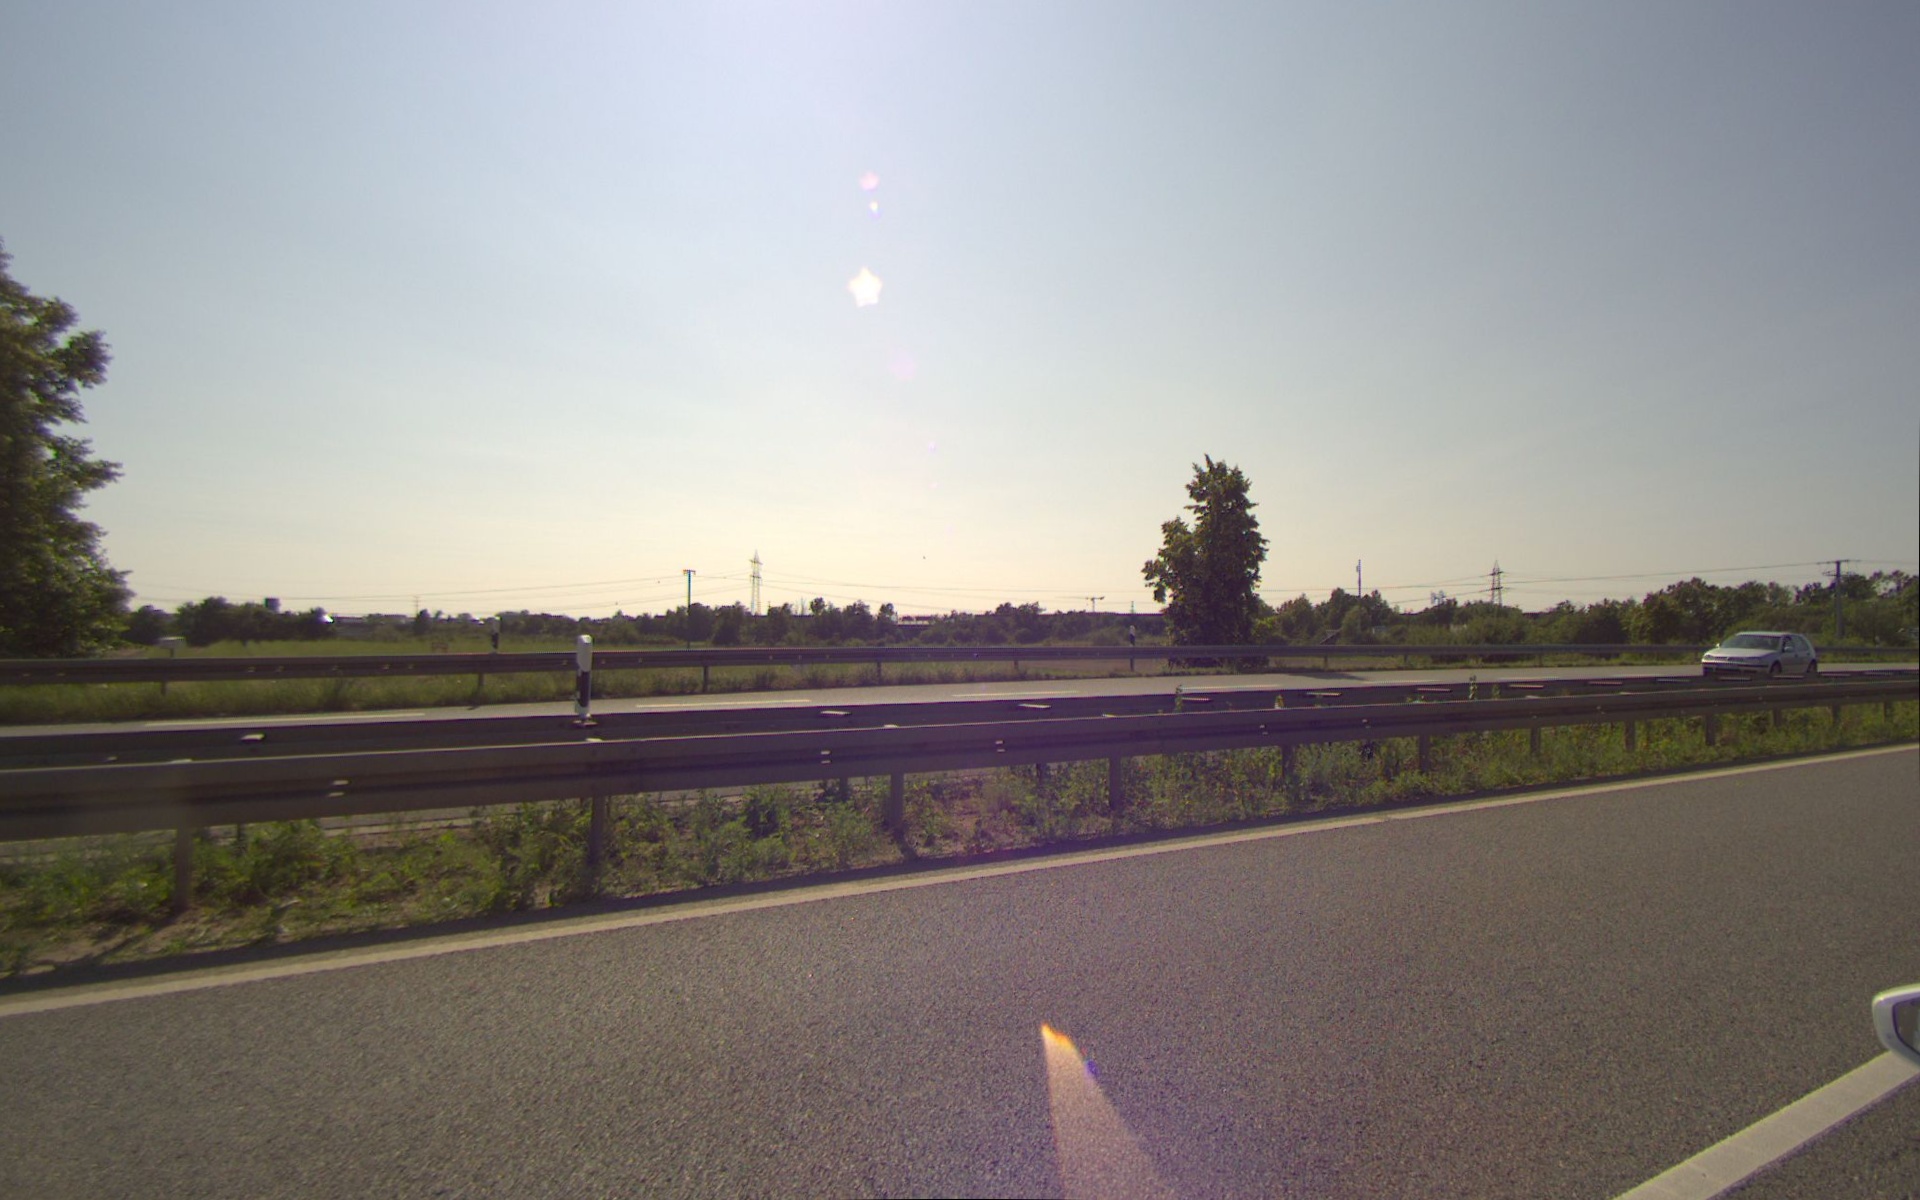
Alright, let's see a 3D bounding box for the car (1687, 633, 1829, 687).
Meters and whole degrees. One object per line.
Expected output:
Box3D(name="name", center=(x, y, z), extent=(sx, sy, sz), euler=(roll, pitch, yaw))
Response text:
Box3D(name="car", center=(23.673, 1.738, 29.768), extent=(4.363, 1.415, 1.813), euler=(2, 0, -30))
